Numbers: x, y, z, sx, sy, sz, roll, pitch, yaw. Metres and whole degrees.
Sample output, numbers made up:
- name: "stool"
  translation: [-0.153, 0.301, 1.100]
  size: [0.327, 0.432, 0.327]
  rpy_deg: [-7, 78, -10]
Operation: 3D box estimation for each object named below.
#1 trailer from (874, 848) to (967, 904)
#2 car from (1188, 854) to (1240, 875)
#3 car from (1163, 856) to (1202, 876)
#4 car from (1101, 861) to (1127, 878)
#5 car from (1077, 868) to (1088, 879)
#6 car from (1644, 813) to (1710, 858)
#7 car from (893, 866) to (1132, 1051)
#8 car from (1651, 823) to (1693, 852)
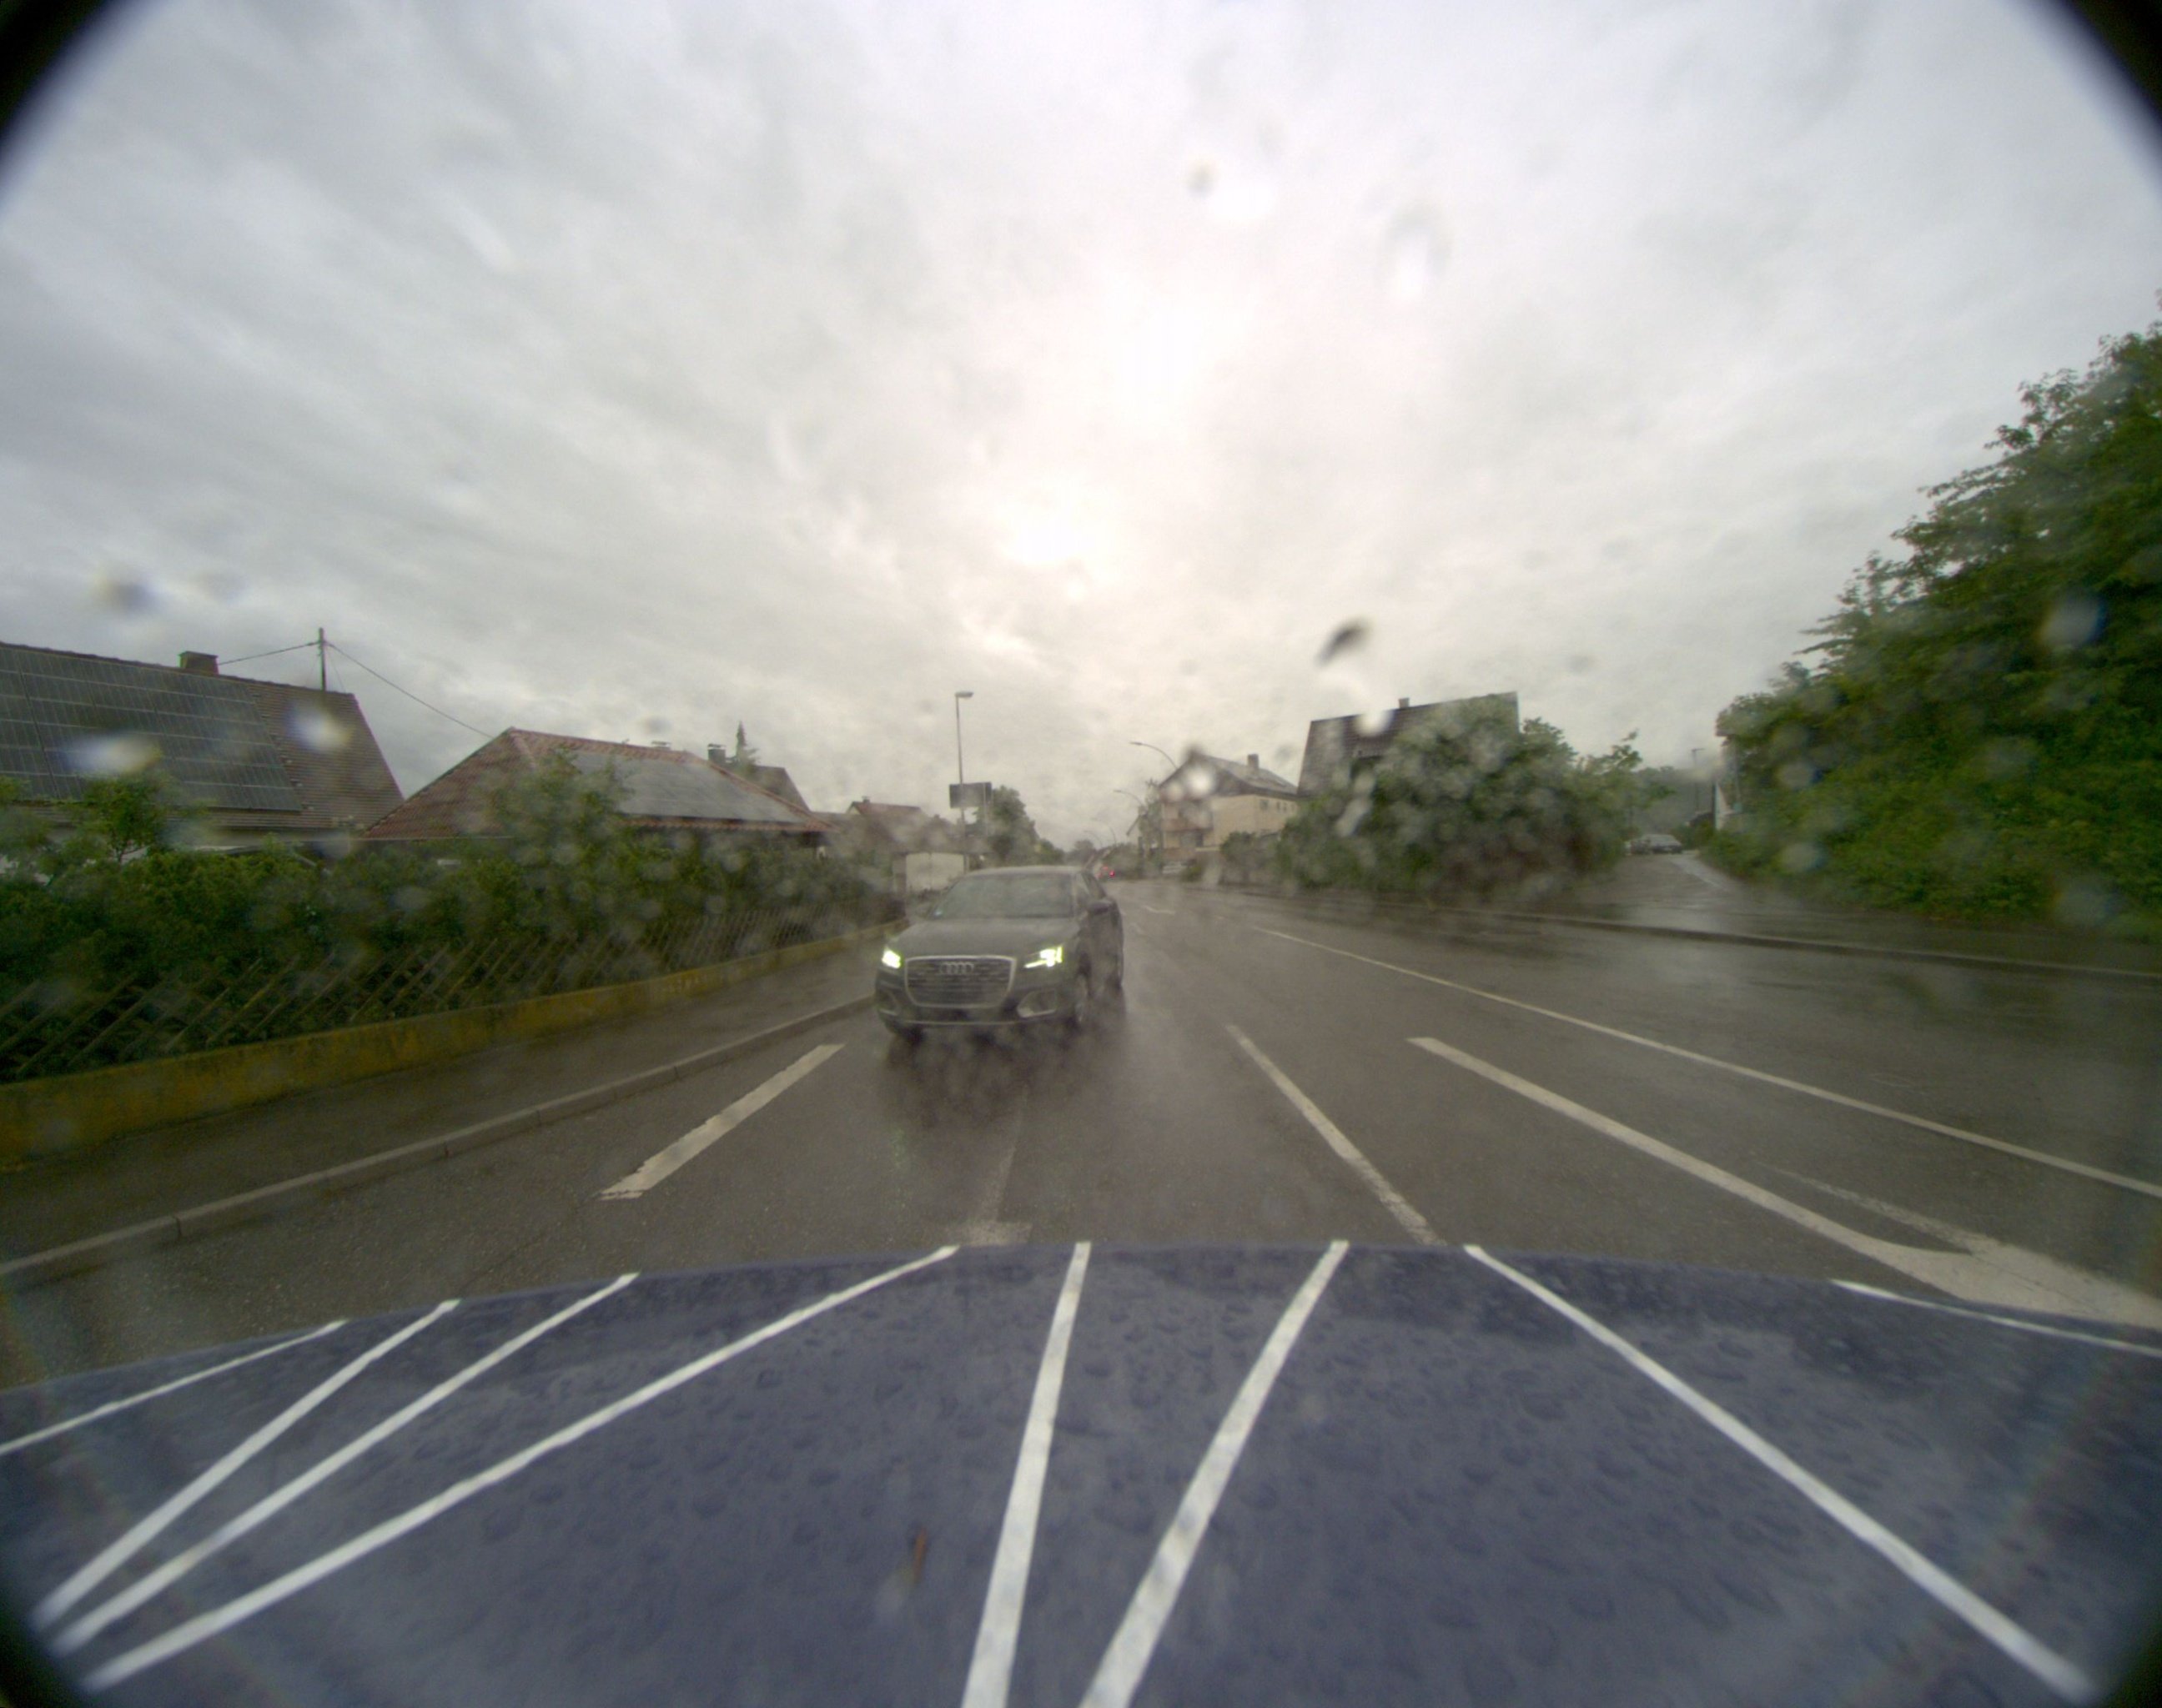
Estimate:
- name: "trailer"
  translation: [-7.719, 1.007, 37.080]
  size: [1.645, 2.502, 4.712]
  rpy_deg: [-3, -1, 28]
- name: "car"
  translation: [10.696, 0.849, 61.224]
  size: [3.661, 1.510, 1.758]
  rpy_deg: [-3, 0, 35]
- name: "car"
  translation: [8.965, 1.059, 67.137]
  size: [1.864, 1.510, 4.007]
  rpy_deg: [-3, 0, 32]
- name: "car"
  translation: [3.670, 1.688, 82.892]
  size: [1.997, 1.658, 4.420]
  rpy_deg: [-3, 0, 12]
- name: "car"
  translation: [0.293, 3.477, 136.526]
  size: [1.932, 1.864, 4.000]
  rpy_deg: [-3, 0, 0]
- name: "car"
  translation: [22.965, -0.707, 29.217]
  size: [1.706, 1.579, 3.669]
  rpy_deg: [-2, 0, 42]
- name: "car"
  translation: [-0.482, 0.959, 8.546]
  size: [1.686, 1.486, 3.942]
  rpy_deg: [-3, 0, 9]
- name: "car"
  translation: [41.127, -1.141, 52.856]
  size: [1.995, 1.848, 4.008]
  rpy_deg: [-3, 0, 41]
